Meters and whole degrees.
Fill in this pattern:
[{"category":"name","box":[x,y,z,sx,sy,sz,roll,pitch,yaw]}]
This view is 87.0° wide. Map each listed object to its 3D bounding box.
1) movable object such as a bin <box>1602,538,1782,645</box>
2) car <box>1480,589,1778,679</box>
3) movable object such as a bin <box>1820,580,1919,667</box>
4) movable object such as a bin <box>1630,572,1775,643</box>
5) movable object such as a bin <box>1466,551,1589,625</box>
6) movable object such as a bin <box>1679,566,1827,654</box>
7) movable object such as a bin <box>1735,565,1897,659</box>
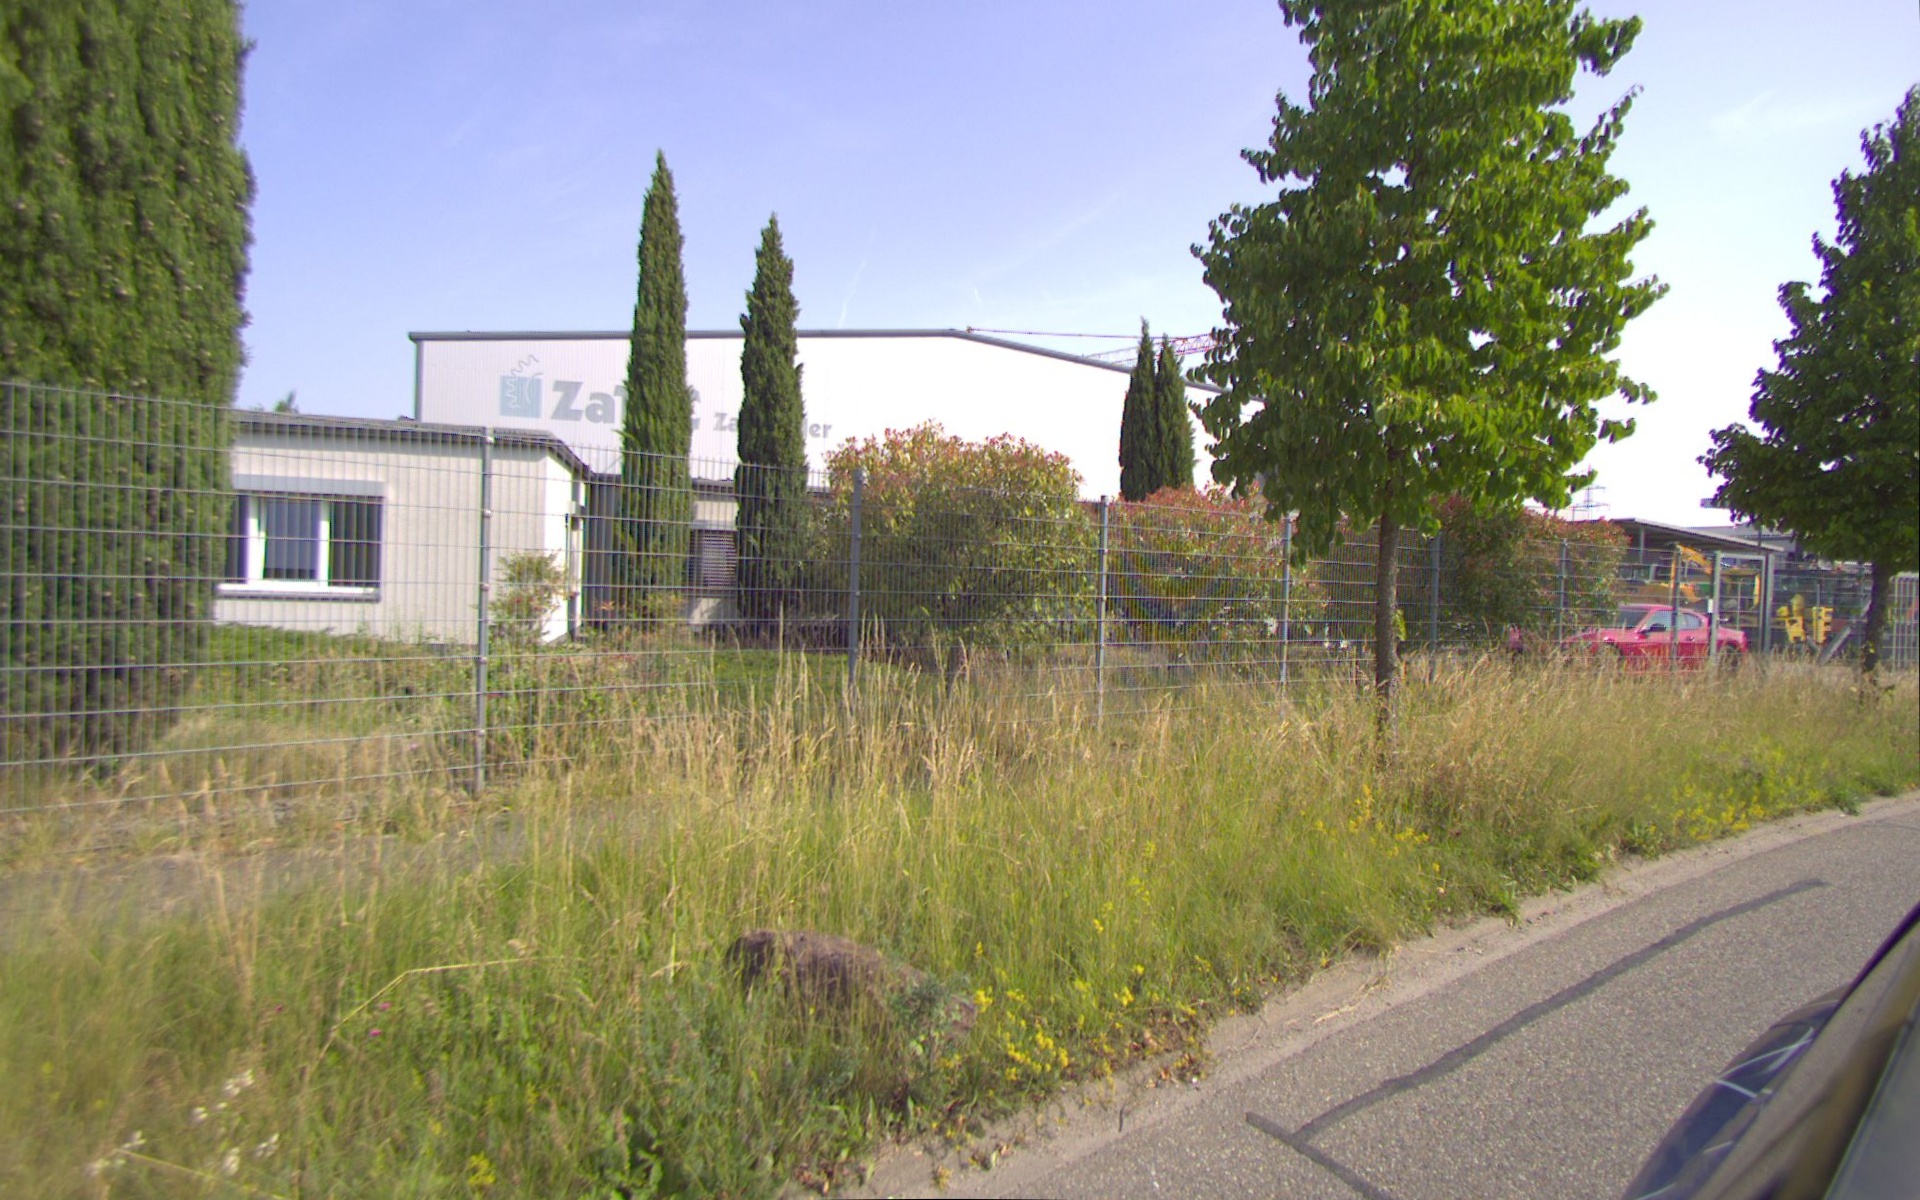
[{"category":"movable object such as a bin","box":[29.045,-0.330,40.228,5.597,3.921,2.699,2,1,-14]},{"category":"car","box":[11.851,0.592,17.956,4.672,1.374,1.891,2,1,-18]},{"category":"movable object such as a bin","box":[30.718,0.750,31.877,5.226,2.522,2.939,2,1,-14]},{"category":"movable object such as a bin","box":[32.783,0.322,44.684,5.570,2.803,2.066,2,1,-16]},{"category":"movable object such as a bin","box":[32.115,-0.689,57.324,5.896,3.977,2.733,1,2,-19]},{"category":"movable object such as a bin","box":[29.321,0.349,37.458,4.281,3.069,2.004,2,1,-14]},{"category":"movable object such as a bin","box":[29.663,0.395,35.129,4.397,3.069,2.004,2,1,-14]}]
